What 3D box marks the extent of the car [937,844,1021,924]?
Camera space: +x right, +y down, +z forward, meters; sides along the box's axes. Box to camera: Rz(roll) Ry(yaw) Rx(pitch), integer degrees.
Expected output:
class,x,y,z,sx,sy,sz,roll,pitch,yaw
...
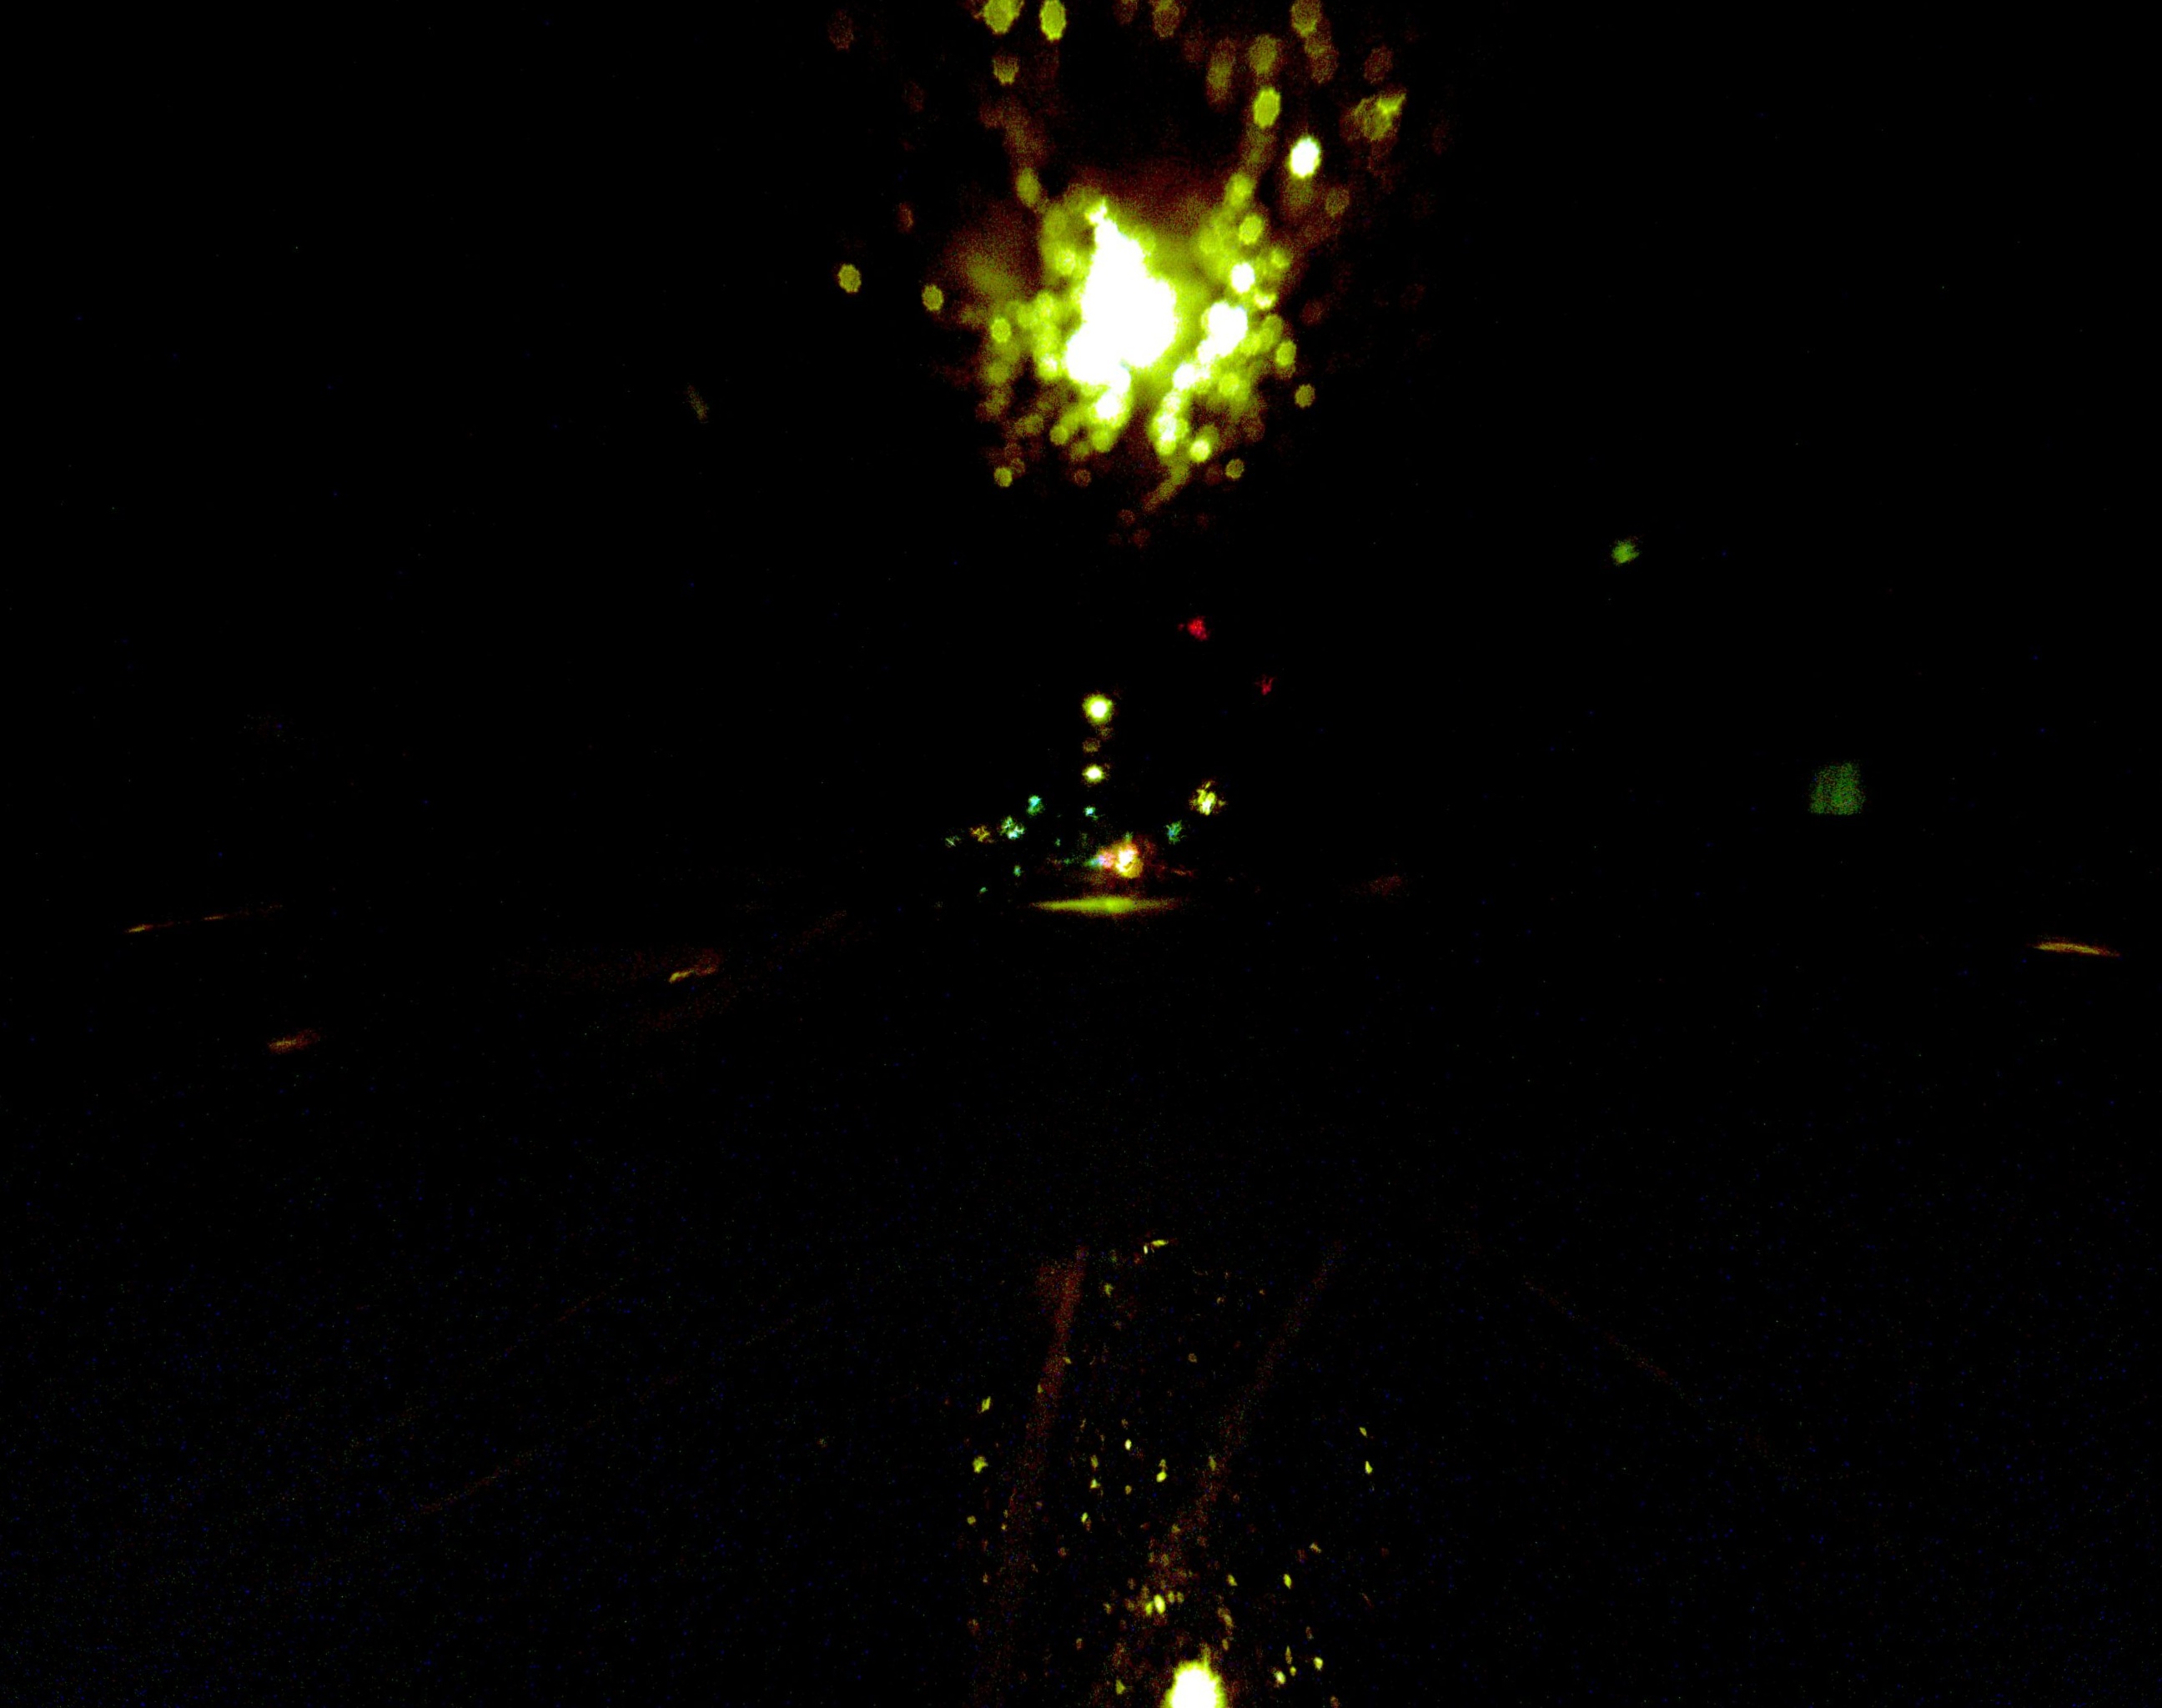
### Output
class,x,y,z,sx,sy,sz,roll,pitch,yaw
car,-2.738,0.730,21.641,1.800,1.938,5.852,1,0,-3

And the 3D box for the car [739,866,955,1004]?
class,x,y,z,sx,sy,sz,roll,pitch,yaw
car,-2.986,0.951,10.699,1.800,1.439,4.279,1,0,-2

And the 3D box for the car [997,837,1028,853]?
class,x,y,z,sx,sy,sz,roll,pitch,yaw
car,-9.789,-1.255,108.445,4.022,2.156,1.802,1,0,7

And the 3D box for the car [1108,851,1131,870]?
class,x,y,z,sx,sy,sz,roll,pitch,yaw
car,3.132,0.521,62.429,1.710,1.531,4.370,1,0,1

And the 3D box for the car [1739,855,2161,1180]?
class,x,y,z,sx,sy,sz,roll,pitch,yaw
car,6.226,0.858,3.813,1.751,1.588,4.388,3,0,-4

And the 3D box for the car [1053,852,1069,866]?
class,x,y,z,sx,sy,sz,roll,pitch,yaw
car,-2.324,0.556,88.288,1.695,1.581,3.765,1,0,-3

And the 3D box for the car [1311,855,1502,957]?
class,x,y,z,sx,sy,sz,roll,pitch,yaw
car,5.835,0.828,14.267,1.670,1.531,4.391,3,0,1

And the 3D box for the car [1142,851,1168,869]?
class,x,y,z,sx,sy,sz,roll,pitch,yaw
car,6.235,0.476,64.257,1.628,1.464,4.547,1,0,-1

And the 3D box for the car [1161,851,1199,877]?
class,x,y,z,sx,sy,sz,roll,pitch,yaw
car,6.074,0.599,47.238,1.800,1.464,4.396,1,0,0

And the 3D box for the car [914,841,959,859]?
class,x,y,z,sx,sy,sz,roll,pitch,yaw
car,-14.365,-0.426,75.725,4.090,1.697,1.666,1,0,4

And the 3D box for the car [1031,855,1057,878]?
class,x,y,z,sx,sy,sz,roll,pitch,yaw
car,-2.525,0.818,52.357,1.608,1.464,3.951,1,0,-1

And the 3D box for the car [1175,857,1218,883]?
class,x,y,z,sx,sy,sz,roll,pitch,yaw
car,6.297,0.855,41.847,1.843,1.261,4.638,1,0,2

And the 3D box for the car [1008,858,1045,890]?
class,x,y,z,sx,sy,sz,roll,pitch,yaw
car,-2.862,1.014,40.446,1.800,1.539,3.950,1,0,-3

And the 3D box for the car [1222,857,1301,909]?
class,x,y,z,sx,sy,sz,roll,pitch,yaw
car,5.919,0.912,25.464,1.670,1.531,4.391,1,0,1

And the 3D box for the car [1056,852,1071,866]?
class,x,y,z,sx,sy,sz,roll,pitch,yaw
car,-2.173,0.592,93.725,1.649,1.581,3.445,1,0,-3

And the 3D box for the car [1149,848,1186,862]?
class,x,y,z,sx,sy,sz,roll,pitch,yaw
car,11.554,0.134,101.464,4.539,1.696,1.853,1,0,15

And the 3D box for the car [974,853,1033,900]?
class,x,y,z,sx,sy,sz,roll,pitch,yaw
car,-2.681,0.740,27.049,1.800,1.539,3.950,1,0,-3

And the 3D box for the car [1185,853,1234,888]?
class,x,y,z,sx,sy,sz,roll,pitch,yaw
car,6.102,0.754,36.491,1.710,1.531,4.059,2,0,1

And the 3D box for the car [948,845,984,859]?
class,x,y,z,sx,sy,sz,roll,pitch,yaw
car,-12.610,-0.229,83.287,3.663,1.448,1.666,1,0,0

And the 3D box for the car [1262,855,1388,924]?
class,x,y,z,sx,sy,sz,roll,pitch,yaw
car,6.055,0.806,19.421,1.670,1.531,4.390,1,0,-2

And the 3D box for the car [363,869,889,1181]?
class,x,y,z,sx,sy,sz,roll,pitch,yaw
car,-2.870,0.931,6.038,1.679,1.479,4.279,1,0,-2

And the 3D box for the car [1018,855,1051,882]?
class,x,y,z,sx,sy,sz,roll,pitch,yaw
car,-2.730,0.804,45.048,1.800,1.464,3.950,1,0,-3

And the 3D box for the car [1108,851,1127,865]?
class,x,y,z,sx,sy,sz,roll,pitch,yaw
car,4.151,0.486,86.384,2.044,1.539,4.683,-1,0,2

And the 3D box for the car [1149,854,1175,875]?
class,x,y,z,sx,sy,sz,roll,pitch,yaw
car,6.206,0.786,58.635,1.627,1.464,3.963,1,0,2

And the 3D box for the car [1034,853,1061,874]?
class,x,y,z,sx,sy,sz,roll,pitch,yaw
car,-2.626,0.742,61.017,1.799,1.539,4.785,1,0,1

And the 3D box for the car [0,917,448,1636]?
class,x,y,z,sx,sy,sz,roll,pitch,yaw
car,-2.831,0.880,0.733,1.460,1.298,3.628,1,0,-2

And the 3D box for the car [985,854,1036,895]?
class,x,y,z,sx,sy,sz,roll,pitch,yaw
car,-2.926,0.796,32.429,1.873,1.570,4.746,1,0,-3

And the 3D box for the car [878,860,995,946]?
class,x,y,z,sx,sy,sz,roll,pitch,yaw
car,-2.870,0.921,15.963,1.800,1.483,4.127,1,0,-3

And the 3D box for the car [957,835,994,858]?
class,x,y,z,sx,sy,sz,roll,pitch,yaw
car,-12.550,-0.901,90.719,4.022,2.603,1.802,1,0,7

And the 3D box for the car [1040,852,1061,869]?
class,x,y,z,sx,sy,sz,roll,pitch,yaw
car,-2.908,0.601,71.563,1.896,1.581,3.834,1,0,-3

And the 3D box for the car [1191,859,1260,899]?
class,x,y,z,sx,sy,sz,roll,pitch,yaw
car,5.752,0.966,30.750,1.624,1.410,4.673,1,0,-4

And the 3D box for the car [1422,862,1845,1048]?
class,x,y,z,sx,sy,sz,roll,pitch,yaw
car,5.947,0.935,9.013,1.670,1.531,4.390,3,0,-1
